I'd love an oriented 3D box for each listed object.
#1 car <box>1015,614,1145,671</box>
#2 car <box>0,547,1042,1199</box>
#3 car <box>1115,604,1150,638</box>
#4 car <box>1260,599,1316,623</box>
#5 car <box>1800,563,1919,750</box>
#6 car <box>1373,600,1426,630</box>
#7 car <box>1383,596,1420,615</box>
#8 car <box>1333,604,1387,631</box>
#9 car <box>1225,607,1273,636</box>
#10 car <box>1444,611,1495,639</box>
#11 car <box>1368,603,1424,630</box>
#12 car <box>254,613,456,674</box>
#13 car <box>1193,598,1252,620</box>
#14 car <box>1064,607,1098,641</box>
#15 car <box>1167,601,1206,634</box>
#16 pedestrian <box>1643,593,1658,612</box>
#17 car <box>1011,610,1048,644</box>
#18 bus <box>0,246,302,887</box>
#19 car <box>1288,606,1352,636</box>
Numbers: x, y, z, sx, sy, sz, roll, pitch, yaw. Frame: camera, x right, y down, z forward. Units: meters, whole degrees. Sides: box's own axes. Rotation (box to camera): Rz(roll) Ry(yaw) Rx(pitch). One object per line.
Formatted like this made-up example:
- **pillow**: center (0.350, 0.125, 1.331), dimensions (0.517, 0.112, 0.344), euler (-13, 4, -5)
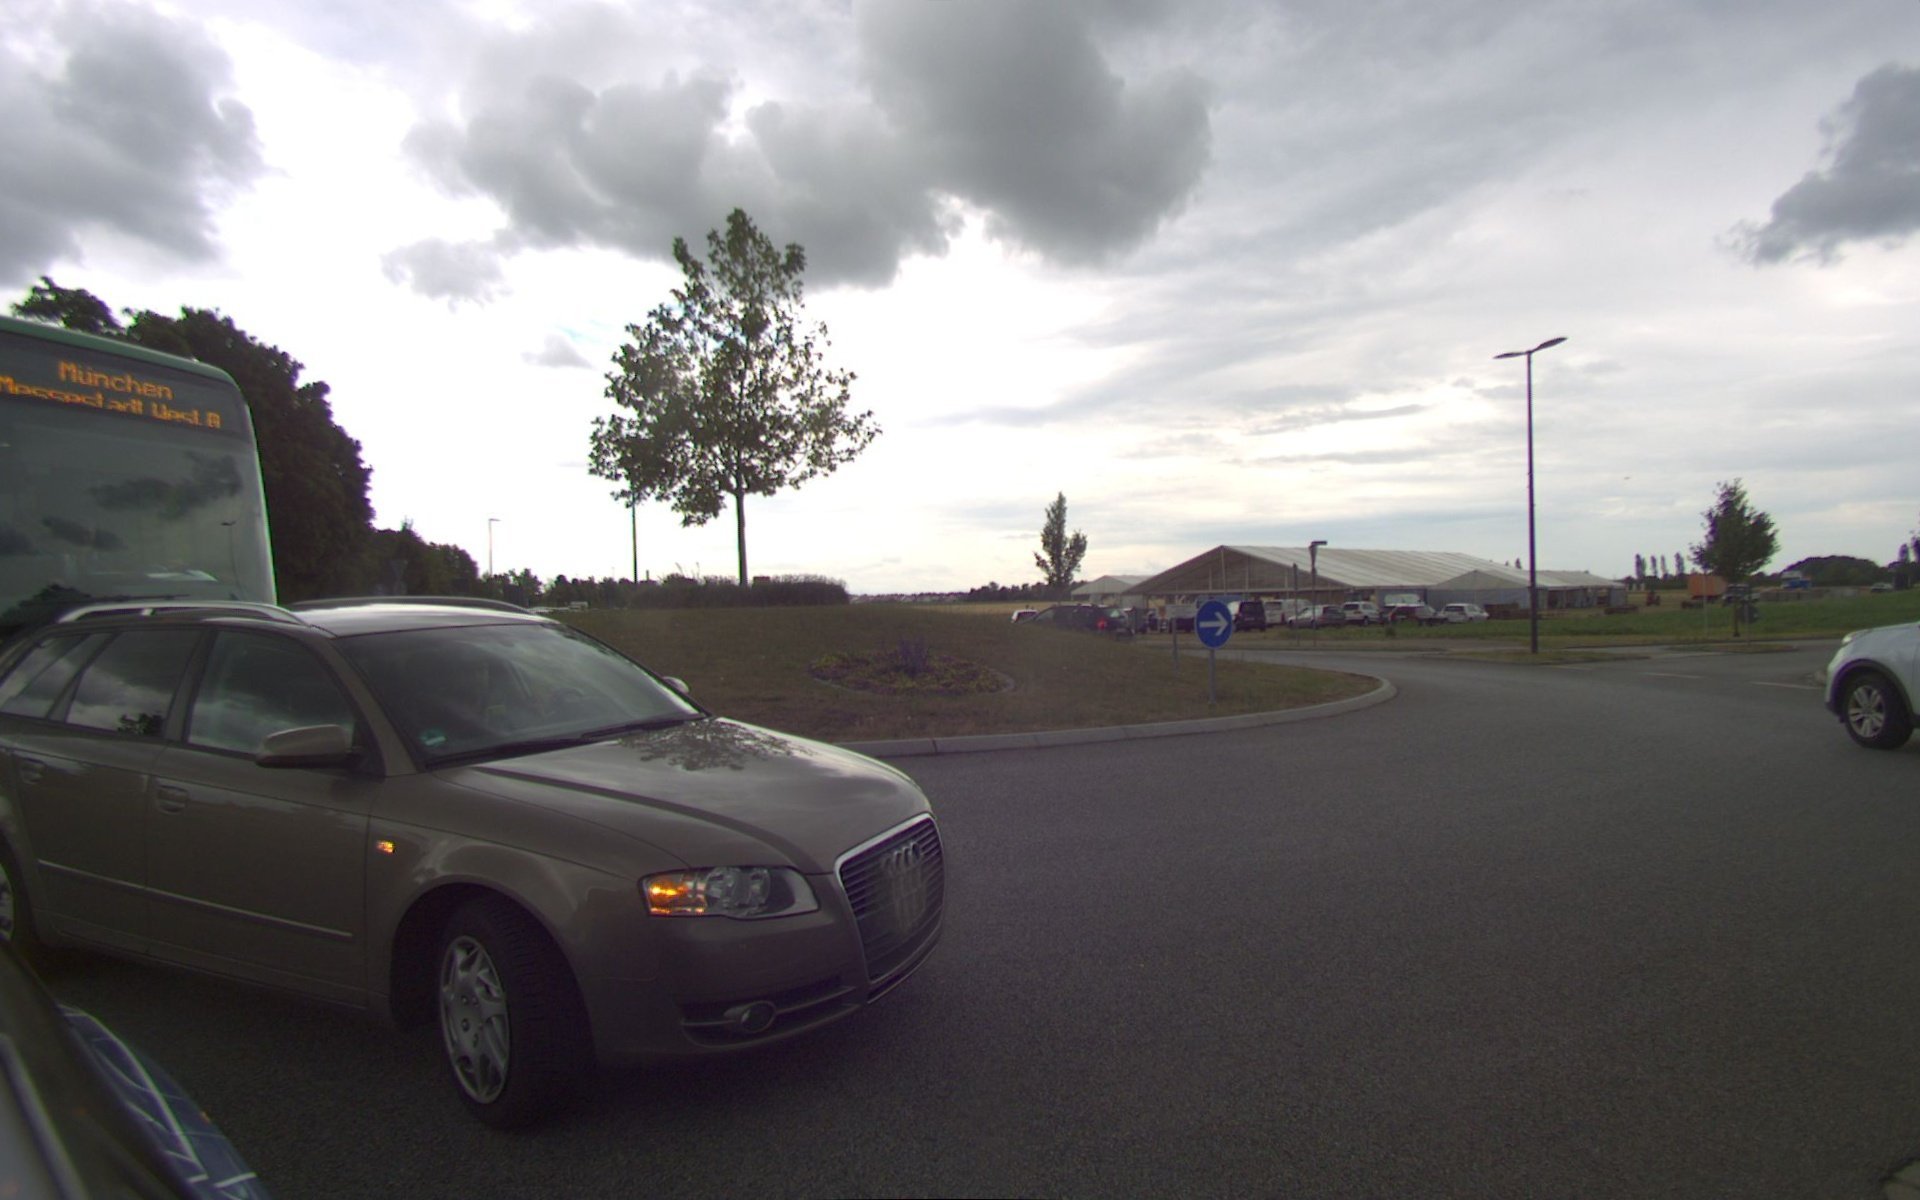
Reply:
- **car**: center (3.761, 1.359, 32.419), dimensions (1.744, 1.575, 4.291), euler (-5, 0, -32)
- **car**: center (-2.116, 0.675, 3.897), dimensions (4.513, 1.476, 1.769), euler (-2, 0, 24)
- **car**: center (9.479, 1.120, 55.847), dimensions (1.696, 1.564, 3.990), euler (-3, 1, 8)
- **car**: center (22.106, 0.733, 68.213), dimensions (3.941, 1.453, 1.953), euler (-1, 0, -44)
- **car**: center (9.223, 0.497, 7.901), dimensions (1.691, 1.638, 4.448), euler (0, 0, 1)
- **car**: center (25.025, 0.847, 57.777), dimensions (1.616, 1.618, 3.869), euler (-1, 0, 6)
- **car**: center (41.002, 0.513, 93.946), dimensions (3.772, 1.618, 1.837), euler (-1, 0, -43)
- **car**: center (26.005, 1.137, 65.745), dimensions (3.772, 1.618, 1.837), euler (-1, 0, -44)
- **car**: center (15.811, 1.158, 55.553), dimensions (1.929, 1.453, 3.990), euler (-1, 0, 8)
- **car**: center (30.828, 1.481, 61.172), dimensions (1.731, 1.565, 3.944), euler (-2, 0, 42)
- **car**: center (27.511, 1.037, 63.806), dimensions (3.772, 1.618, 1.837), euler (-1, 0, -44)
- **car**: center (-17.323, 1.182, 29.384), dimensions (1.953, 1.509, 5.265), euler (-2, 0, 13)
- **car**: center (19.459, 0.660, 74.956), dimensions (3.931, 1.453, 1.958), euler (-1, 0, -29)
- **car**: center (6.705, 1.294, 55.994), dimensions (1.696, 1.564, 3.990), euler (-3, 1, 8)
- **car**: center (12.474, 0.925, 55.991), dimensions (1.696, 1.564, 3.990), euler (-3, 1, 8)
- **pedestrian**: center (77.786, 0.273, 114.039), dimensions (1.044, 2.029, 1.053), euler (-1, 0, -39)
- **car**: center (3.867, 1.477, 55.935), dimensions (1.696, 1.564, 3.990), euler (-3, 1, 8)
- **bus**: center (-8.022, -0.163, 6.373), dimensions (6.473, 3.283, 2.519), euler (0, -1, 8)
- **car**: center (20.747, 1.202, 58.518), dimensions (1.706, 1.618, 3.885), euler (-1, 0, -10)
